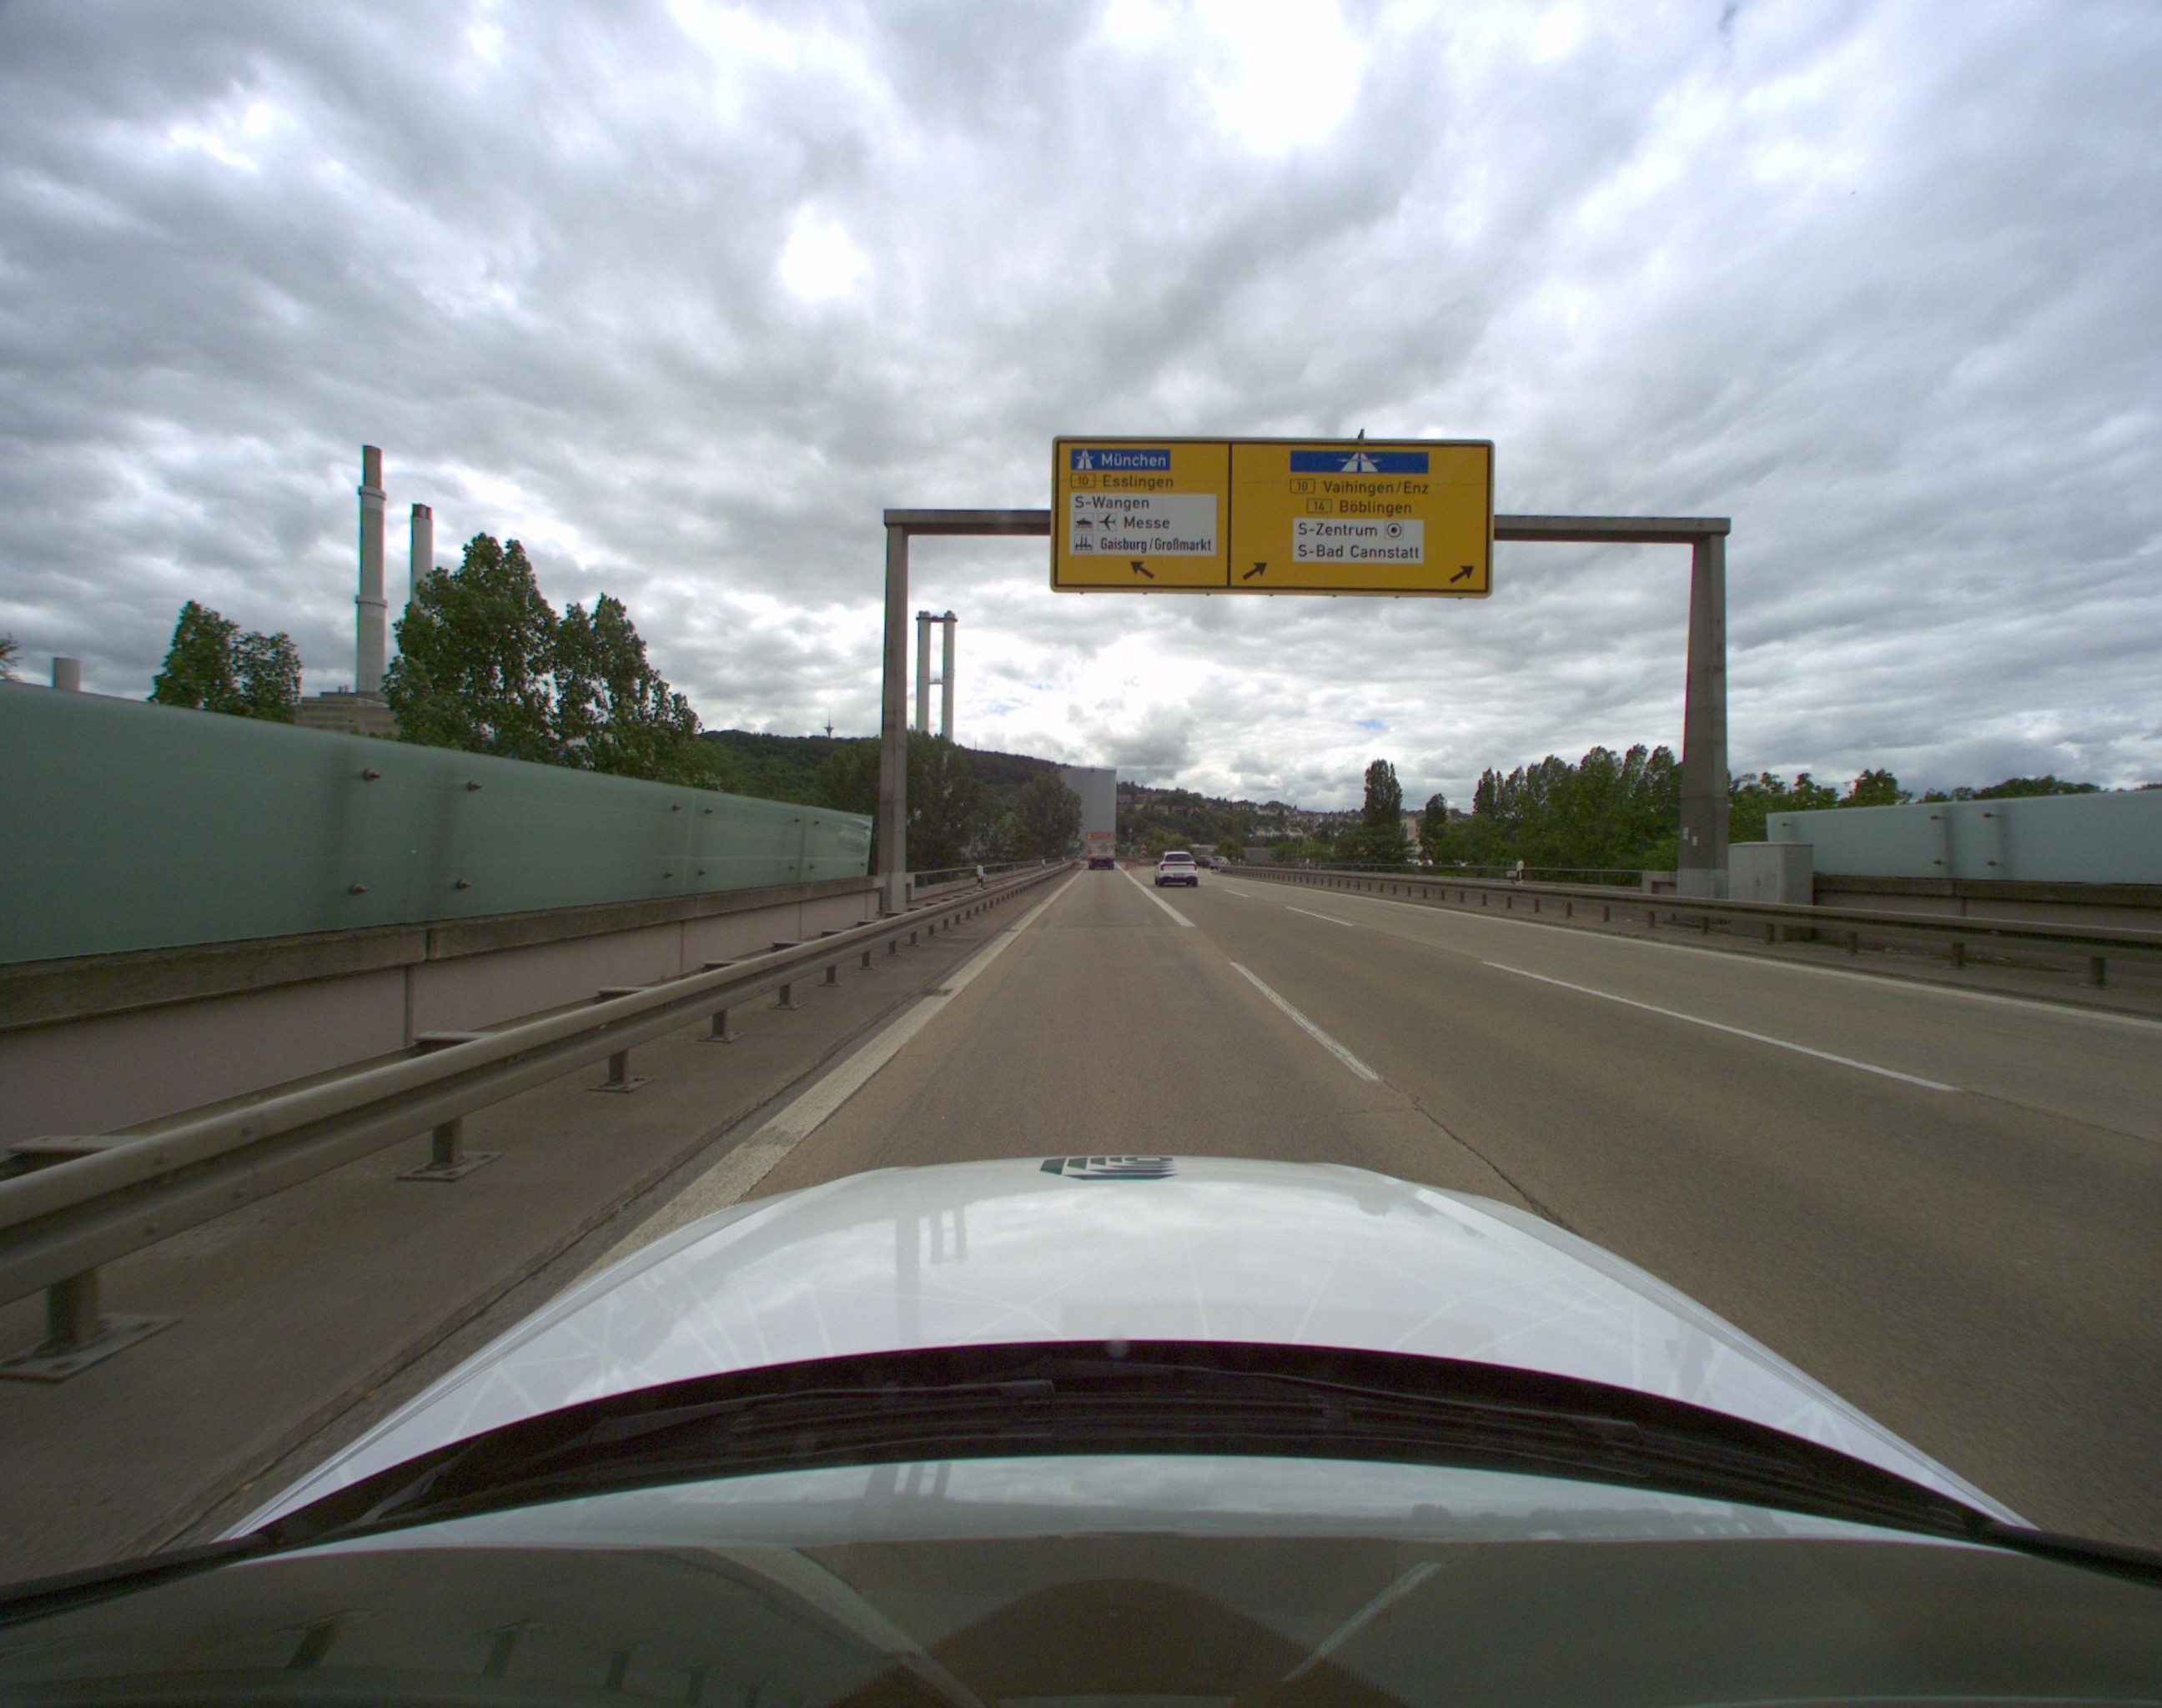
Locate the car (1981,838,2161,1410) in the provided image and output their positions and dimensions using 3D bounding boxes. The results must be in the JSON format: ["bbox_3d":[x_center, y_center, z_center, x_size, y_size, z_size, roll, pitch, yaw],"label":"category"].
[{"bbox_3d":[3.597,0.684,0.438,1.748,1.451,4.072,-1,0,0],"label":"car"}]

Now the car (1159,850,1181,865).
[{"bbox_3d":[11.197,0.437,102.325,1.909,1.785,4.132,-1,0,17],"label":"car"}]

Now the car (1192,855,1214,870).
[{"bbox_3d":[15.311,0.992,102.346,1.919,1.785,4.109,-1,0,-2],"label":"car"}]

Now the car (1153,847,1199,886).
[{"bbox_3d":[4.576,0.560,39.663,1.916,1.785,4.116,-1,0,3],"label":"car"}]

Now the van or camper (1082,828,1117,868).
[{"bbox_3d":[1.854,-0.544,78.881,3.109,3.579,8.555,-1,0,2],"label":"van or camper"}]
